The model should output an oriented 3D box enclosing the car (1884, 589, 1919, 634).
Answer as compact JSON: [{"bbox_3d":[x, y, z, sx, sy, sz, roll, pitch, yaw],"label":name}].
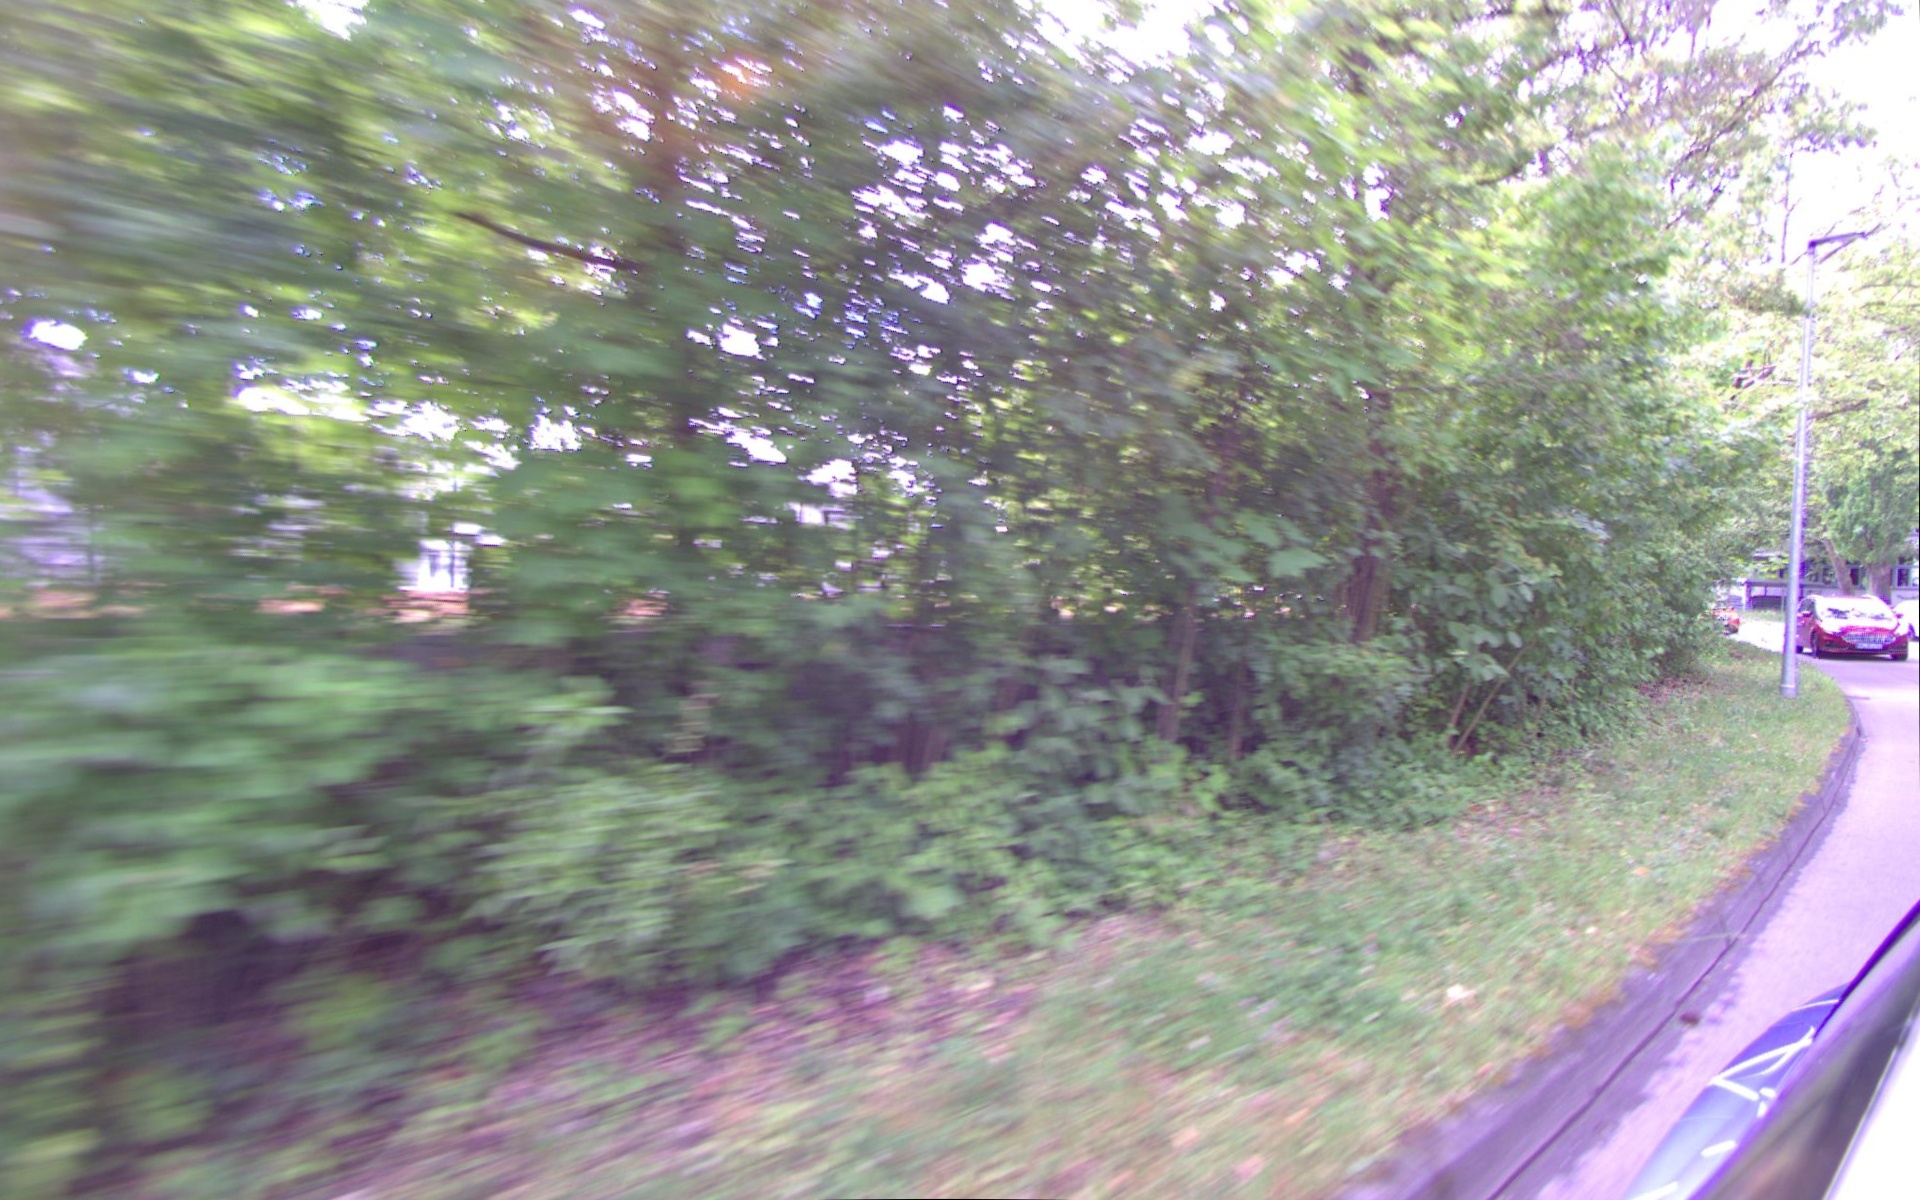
[{"bbox_3d":[33.655,0.400,34.689,1.835,1.510,3.964,1,1,26],"label":"car"}]

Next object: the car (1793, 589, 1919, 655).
[{"bbox_3d":[24.004,0.509,27.113,1.931,1.578,4.309,0,1,31],"label":"car"}]

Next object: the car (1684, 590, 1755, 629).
[{"bbox_3d":[32.213,0.364,43.023,1.932,1.551,4.043,0,0,30],"label":"car"}]
